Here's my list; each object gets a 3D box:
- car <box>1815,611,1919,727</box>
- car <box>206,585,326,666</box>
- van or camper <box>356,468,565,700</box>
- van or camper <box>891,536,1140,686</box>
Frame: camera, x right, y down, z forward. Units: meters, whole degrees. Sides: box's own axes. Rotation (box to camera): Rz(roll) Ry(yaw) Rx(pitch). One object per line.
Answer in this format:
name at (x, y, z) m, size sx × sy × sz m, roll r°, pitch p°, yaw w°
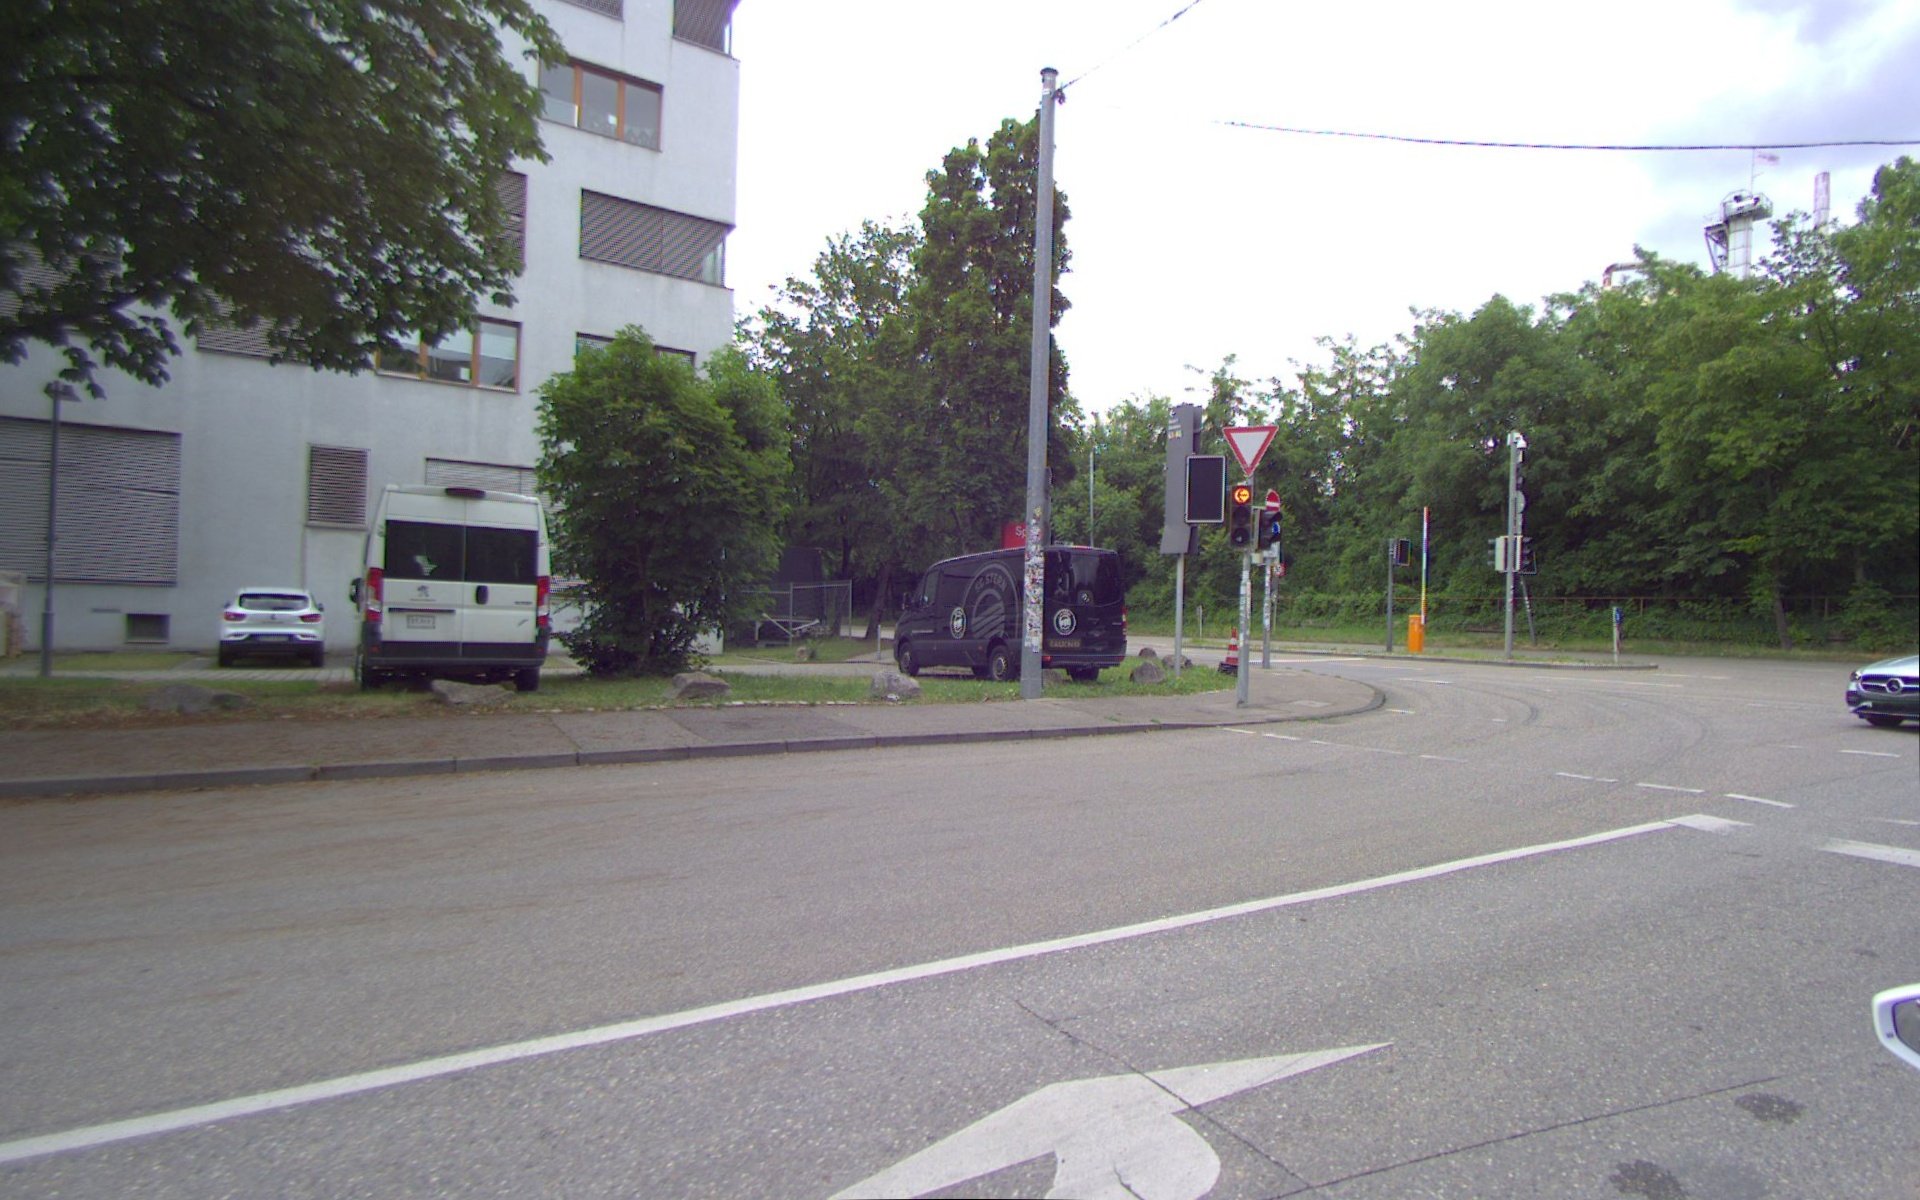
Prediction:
car at (13.848, 0.824, 12.729) m, size 4.676 × 1.351 × 1.832 m, roll -1°, pitch 0°, yaw -5°
car at (-14.784, 0.502, 21.480) m, size 1.881 × 1.475 × 3.972 m, roll 4°, pitch -1°, yaw -34°
van or camper at (-7.098, -0.172, 13.957) m, size 2.039 × 2.604 × 4.943 m, roll 4°, pitch -1°, yaw -32°
van or camper at (0.811, 0.304, 18.817) m, size 2.037 × 2.343 × 5.513 m, roll 4°, pitch -4°, yaw -28°
